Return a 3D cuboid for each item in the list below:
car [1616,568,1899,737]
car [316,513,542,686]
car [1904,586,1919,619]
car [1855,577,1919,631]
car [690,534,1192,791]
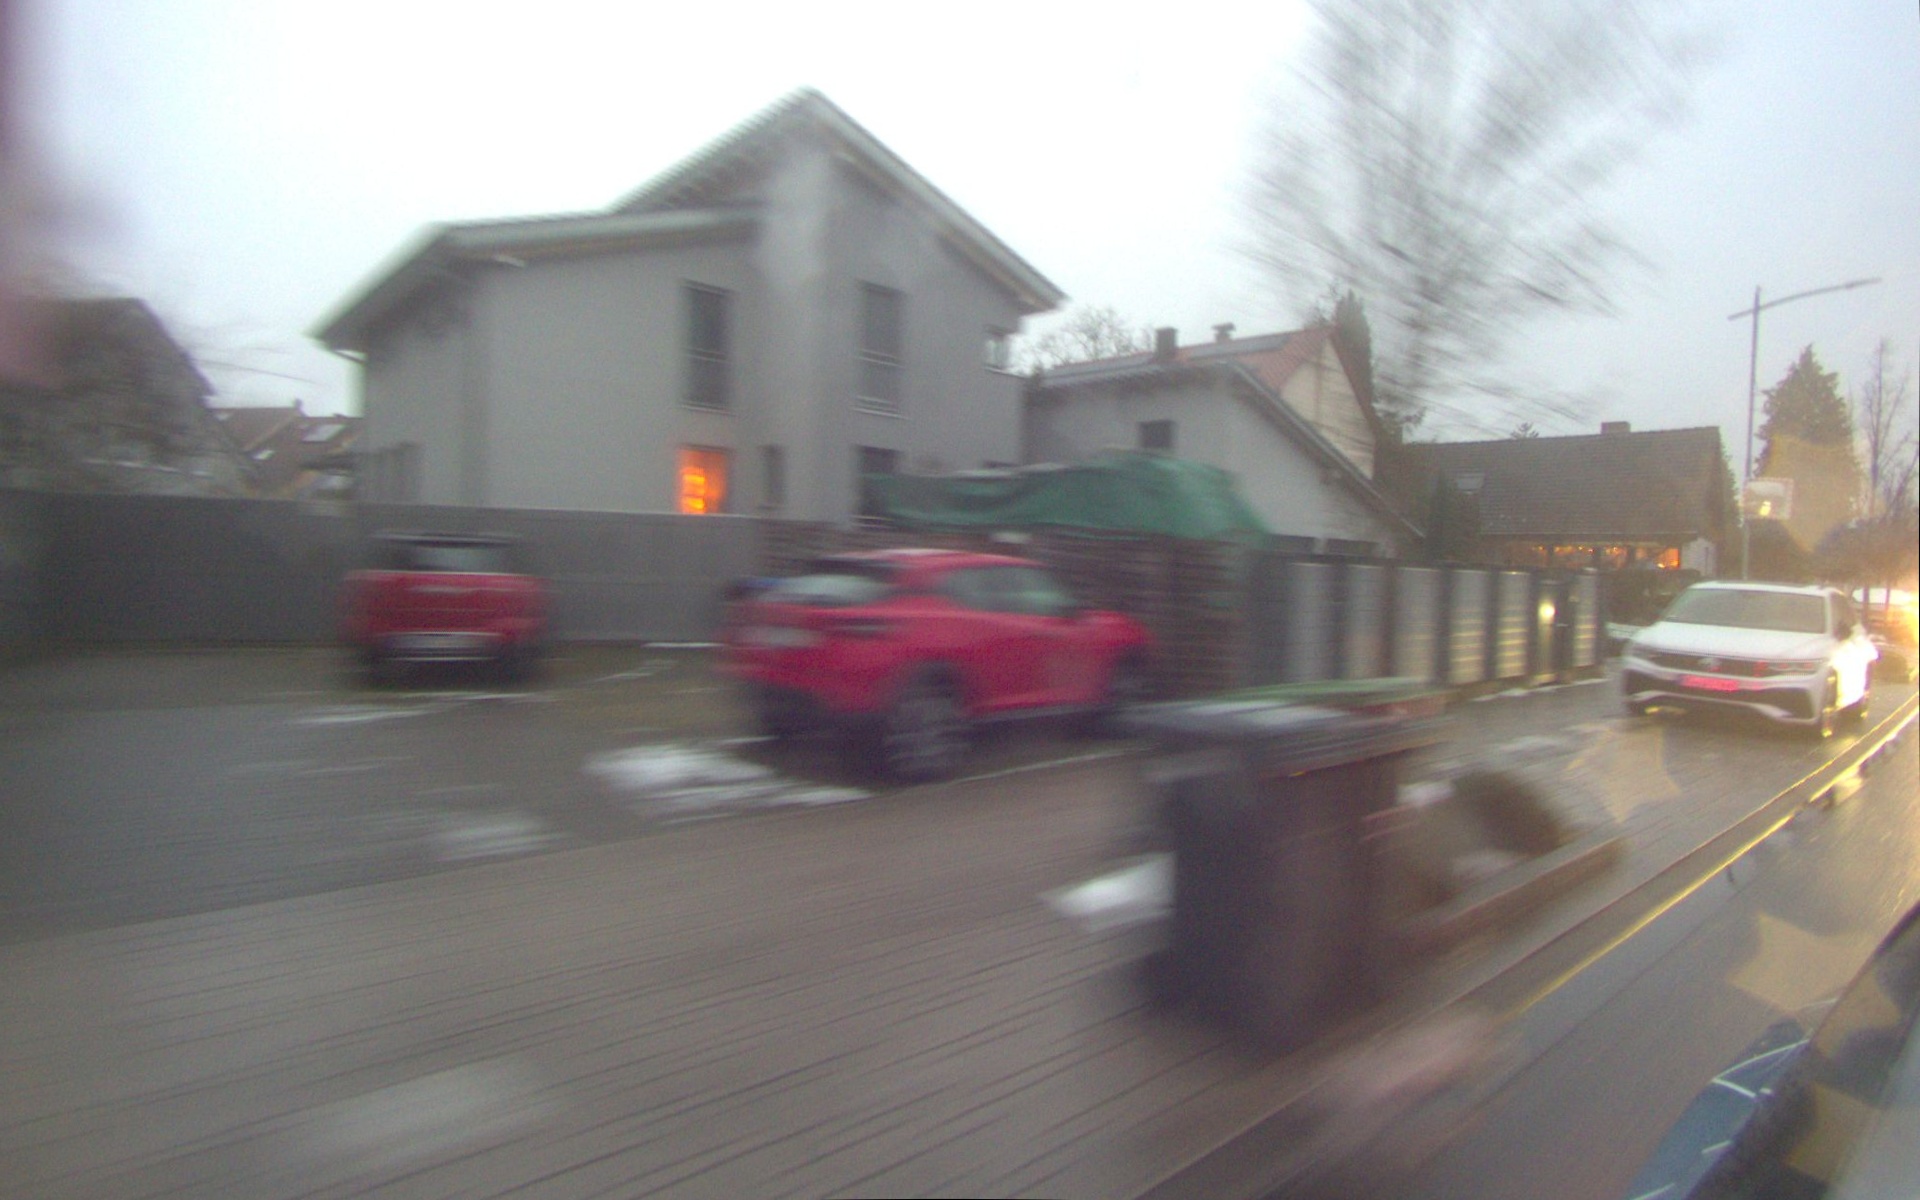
[{"bbox_3d":[9.395,0.481,11.796,4.230,1.583,1.811,0,3,-41],"label":"car"},{"bbox_3d":[-5.773,-0.076,11.429,1.667,1.611,3.783,2,2,-19],"label":"car"},{"bbox_3d":[52.021,0.166,54.134,4.490,1.660,1.904,0,2,-44],"label":"car"},{"bbox_3d":[33.767,0.130,36.653,1.910,1.812,4.498,4,2,41],"label":"car"},{"bbox_3d":[0.090,0.330,8.441,1.806,1.571,4.241,4,3,41],"label":"car"}]
